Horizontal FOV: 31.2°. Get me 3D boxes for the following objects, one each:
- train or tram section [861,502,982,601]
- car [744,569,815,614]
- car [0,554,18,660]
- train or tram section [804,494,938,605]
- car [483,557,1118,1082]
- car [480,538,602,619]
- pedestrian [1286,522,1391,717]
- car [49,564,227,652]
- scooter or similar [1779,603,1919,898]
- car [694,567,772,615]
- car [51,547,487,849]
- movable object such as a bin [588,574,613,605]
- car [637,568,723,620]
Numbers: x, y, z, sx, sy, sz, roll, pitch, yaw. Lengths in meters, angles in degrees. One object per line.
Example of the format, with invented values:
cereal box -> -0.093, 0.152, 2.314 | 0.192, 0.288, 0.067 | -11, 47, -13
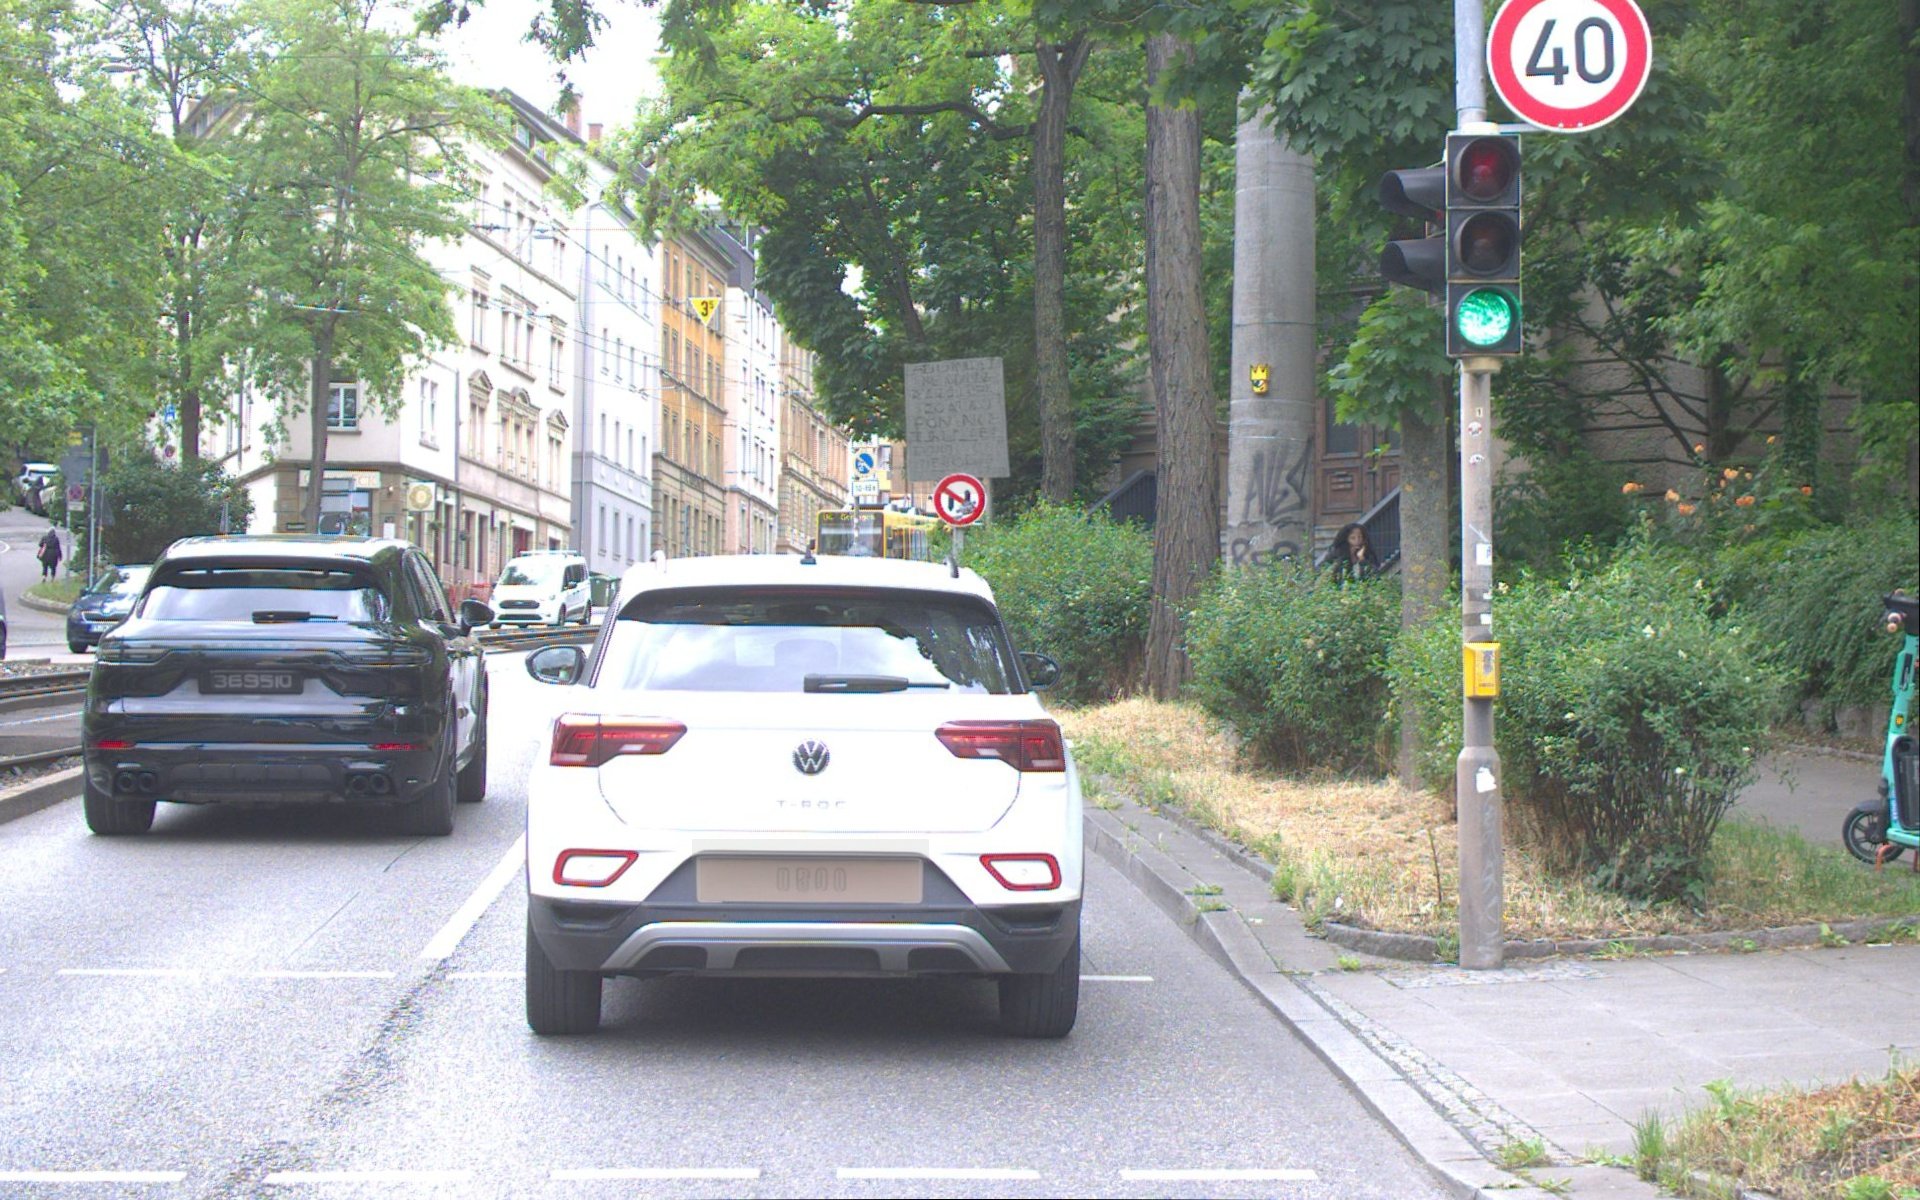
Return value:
train or tram section -> -1.414, -1.930, 141.472 | 2.877, 3.713, 18.699 | 2, 1, 6
car -> -6.318, -0.317, 120.818 | 1.994, 1.547, 3.999 | 0, 0, 4
car -> -13.974, 0.110, 45.438 | 1.659, 1.438, 3.739 | 0, 1, 7
train or tram section -> -3.084, -1.779, 124.778 | 2.883, 3.713, 14.853 | 2, 1, 6
car -> -0.630, 0.632, 12.208 | 1.878, 1.549, 4.001 | 0, 0, -5
car -> -10.326, -0.560, 85.089 | 1.948, 1.939, 5.001 | 0, 1, 6
pedestrian -> 3.334, 0.165, 30.335 | 0.771, 1.697, 0.785 | 0, 0, -6
car -> -13.659, 0.107, 57.343 | 1.766, 1.403, 4.082 | 0, 1, 3
scooter or similar -> 4.163, 0.622, 14.677 | 0.630, 1.206, 1.558 | 0, 0, -15
car -> -7.335, -0.301, 111.547 | 1.994, 1.547, 3.999 | 0, 0, 4
car -> -3.892, 0.490, 20.068 | 2.037, 1.566, 4.359 | 0, 0, -5
movable object such as a bin -> -12.726, -0.369, 121.644 | 0.728, 1.070, 0.671 | 0, 0, 6
car -> -8.424, -0.201, 103.557 | 1.994, 1.547, 3.999 | 0, 0, 4
